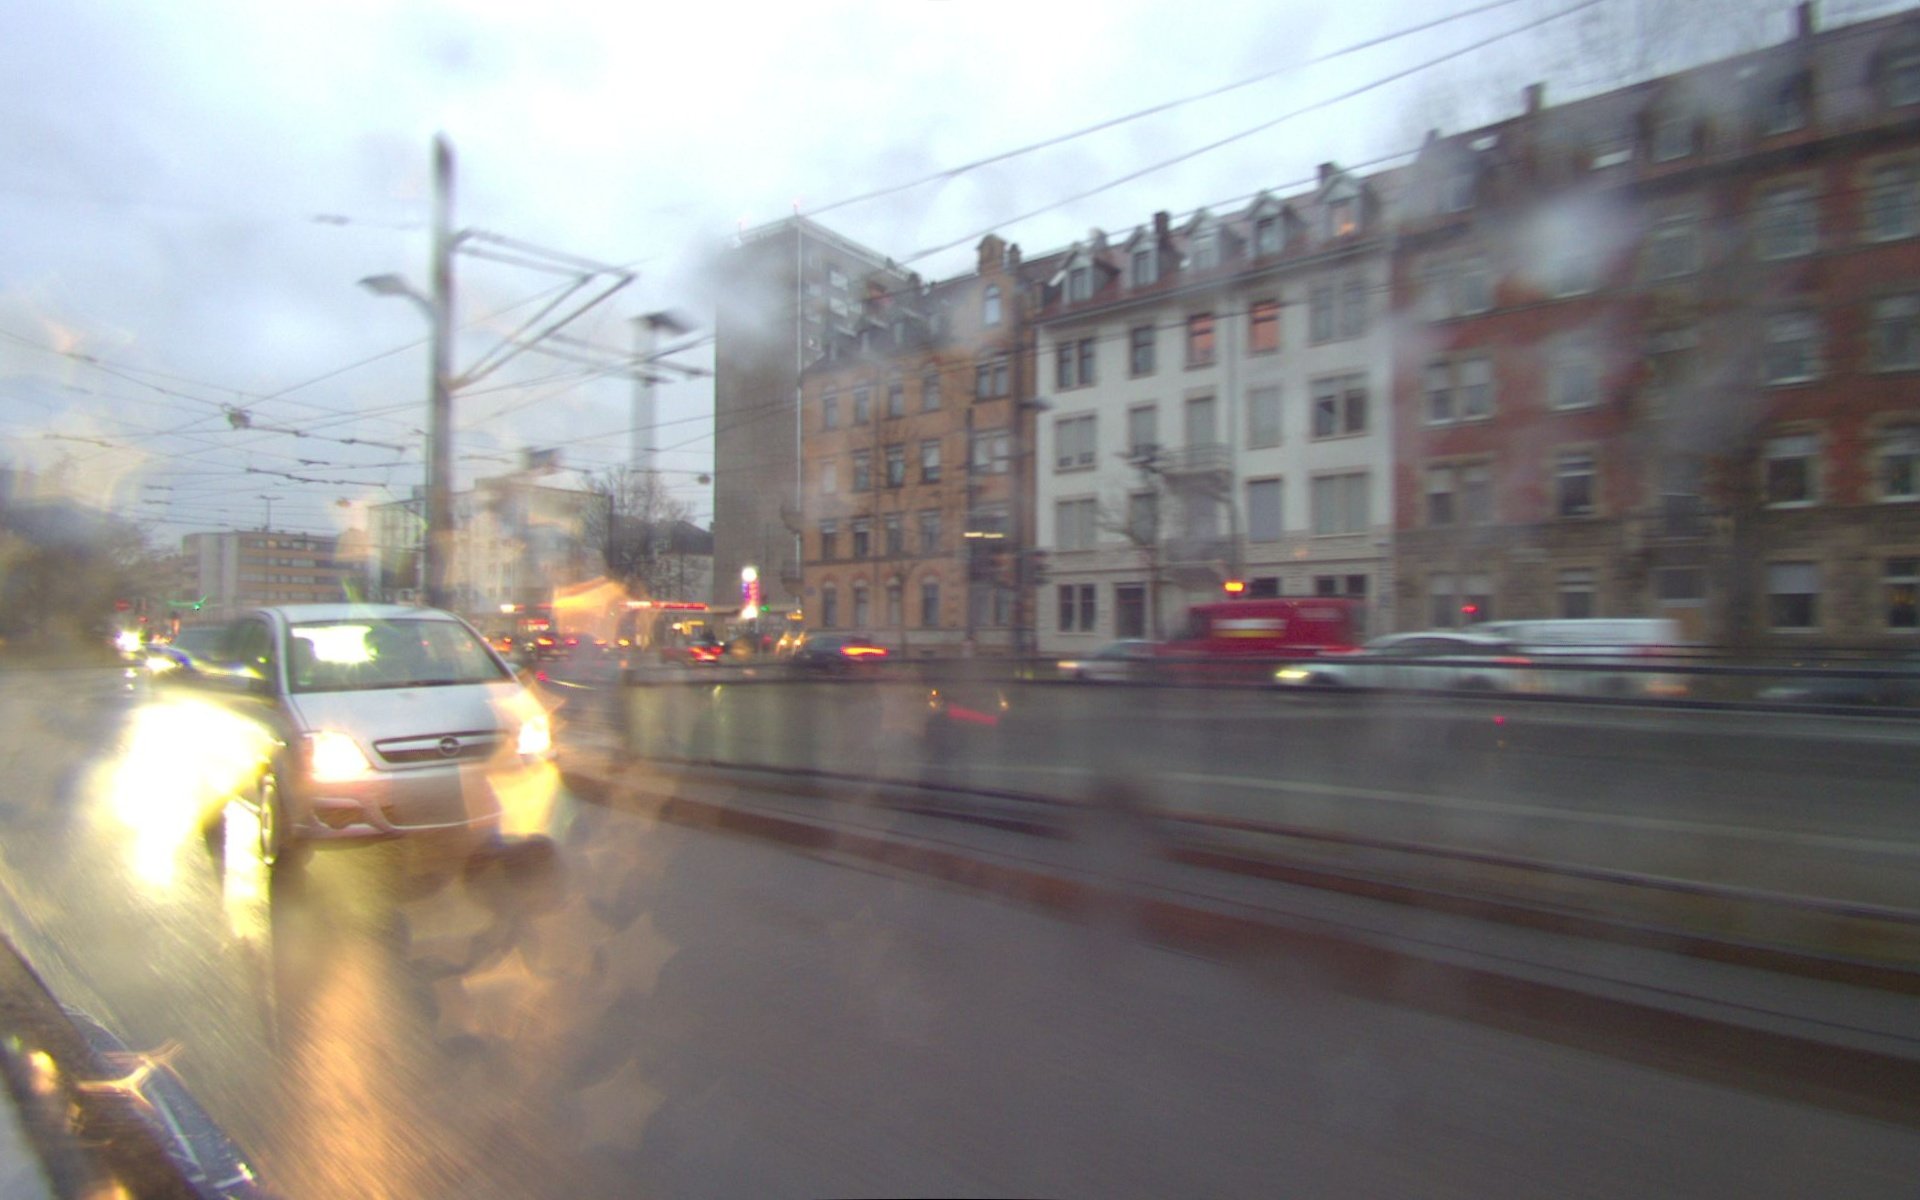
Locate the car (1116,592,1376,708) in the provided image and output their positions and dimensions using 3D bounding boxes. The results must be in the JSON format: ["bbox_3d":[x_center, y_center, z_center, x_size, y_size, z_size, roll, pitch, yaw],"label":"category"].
[{"bbox_3d":[6.282,1.113,22.683,5.261,2.327,1.973,-2,-4,40],"label":"car"}]

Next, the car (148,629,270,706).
[{"bbox_3d":[-16.537,1.461,22.458,1.724,1.556,4.011,2,-4,-31],"label":"car"}]

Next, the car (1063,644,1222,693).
[{"bbox_3d":[4.923,1.836,27.662,4.086,1.236,1.520,-2,-4,42],"label":"car"}]

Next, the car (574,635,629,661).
[{"bbox_3d":[-19.725,2.608,55.580,1.658,1.364,4.398,2,-3,-36],"label":"car"}]

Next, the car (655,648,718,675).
[{"bbox_3d":[-12.310,2.733,45.446,1.578,1.143,3.799,1,-3,-34],"label":"car"}]

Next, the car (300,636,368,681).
[{"bbox_3d":[-26.003,2.426,42.167,1.789,1.756,4.200,2,-3,-24],"label":"car"}]

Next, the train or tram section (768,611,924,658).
[{"bbox_3d":[-8.292,2.526,77.923,3.156,3.212,16.147,-2,-2,29],"label":"train or tram section"}]

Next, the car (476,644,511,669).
[{"bbox_3d":[-29.267,3.530,63.426,1.467,1.498,3.161,2,-3,-34],"label":"car"}]

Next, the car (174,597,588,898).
[{"bbox_3d":[-4.364,0.840,7.313,1.626,1.560,4.112,2,-3,-44],"label":"car"}]

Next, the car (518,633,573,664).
[{"bbox_3d":[-21.324,2.473,51.997,1.658,1.565,4.131,2,-3,-36],"label":"car"}]

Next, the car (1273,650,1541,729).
[{"bbox_3d":[7.816,1.505,17.894,4.082,1.255,1.521,-2,-4,38],"label":"car"}]

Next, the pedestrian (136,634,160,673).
[{"bbox_3d":[-40.338,2.658,50.287,0.564,1.852,0.685,7,-7,-24],"label":"pedestrian"}]

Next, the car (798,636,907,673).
[{"bbox_3d":[-3.871,1.935,36.002,4.086,1.236,1.520,-2,-4,42],"label":"car"}]

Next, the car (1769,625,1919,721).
[{"bbox_3d":[12.713,0.960,13.306,3.190,1.217,1.521,-2,-5,38],"label":"car"}]

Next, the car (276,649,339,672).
[{"bbox_3d":[-41.196,3.805,63.890,4.527,1.397,1.944,-3,-4,38],"label":"car"}]

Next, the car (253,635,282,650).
[{"bbox_3d":[-70.547,4.285,103.078,3.851,1.461,1.626,-2,-2,43],"label":"car"}]

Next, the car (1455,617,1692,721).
[{"bbox_3d":[12.785,1.399,21.201,3.941,1.955,1.973,-2,-4,41],"label":"car"}]
